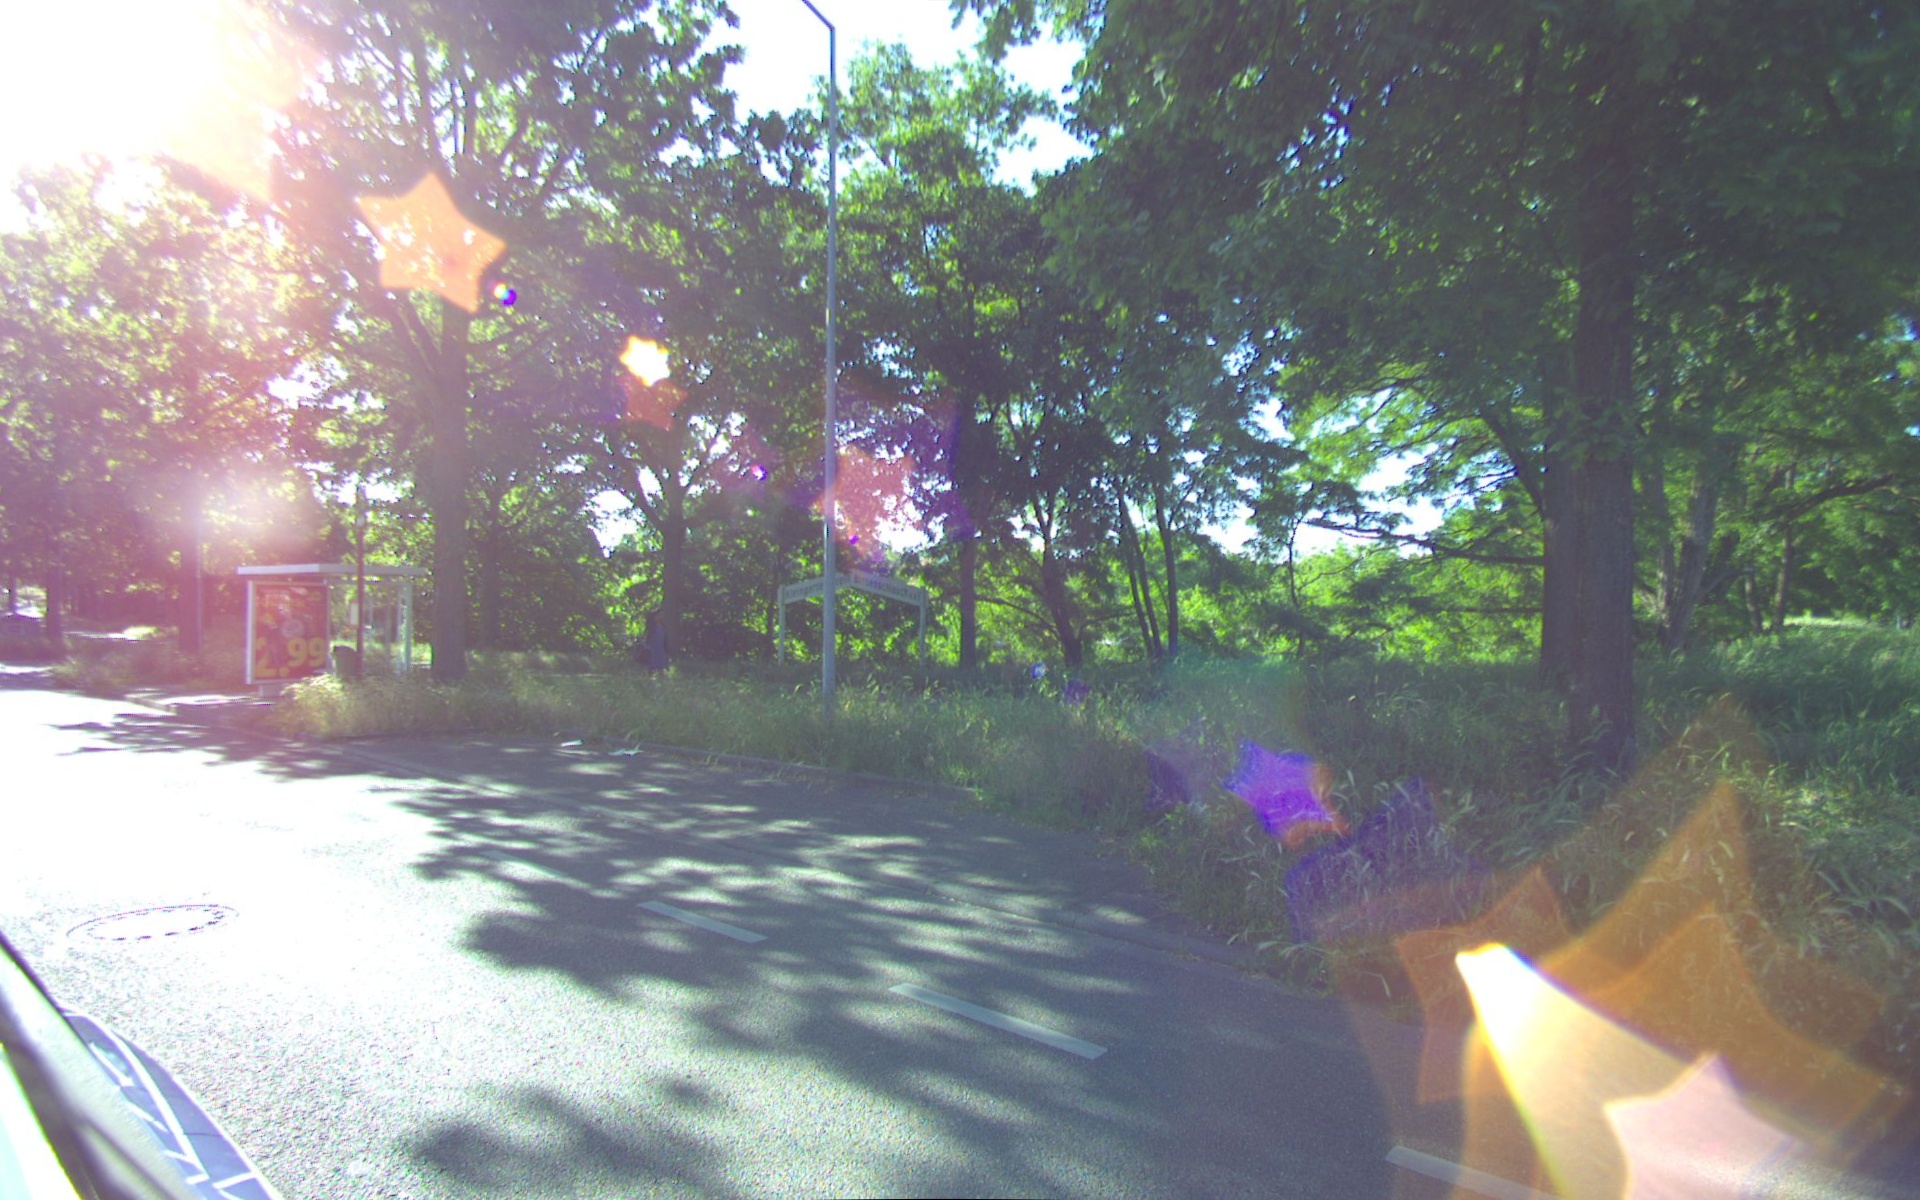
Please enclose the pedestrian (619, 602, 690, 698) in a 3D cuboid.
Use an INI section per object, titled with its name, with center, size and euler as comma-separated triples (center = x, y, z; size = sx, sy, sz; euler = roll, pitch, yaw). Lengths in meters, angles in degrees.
[pedestrian]
center = -5.634, 0.901, 18.684
size = 0.891, 1.701, 0.903
euler = -2, -1, 42
